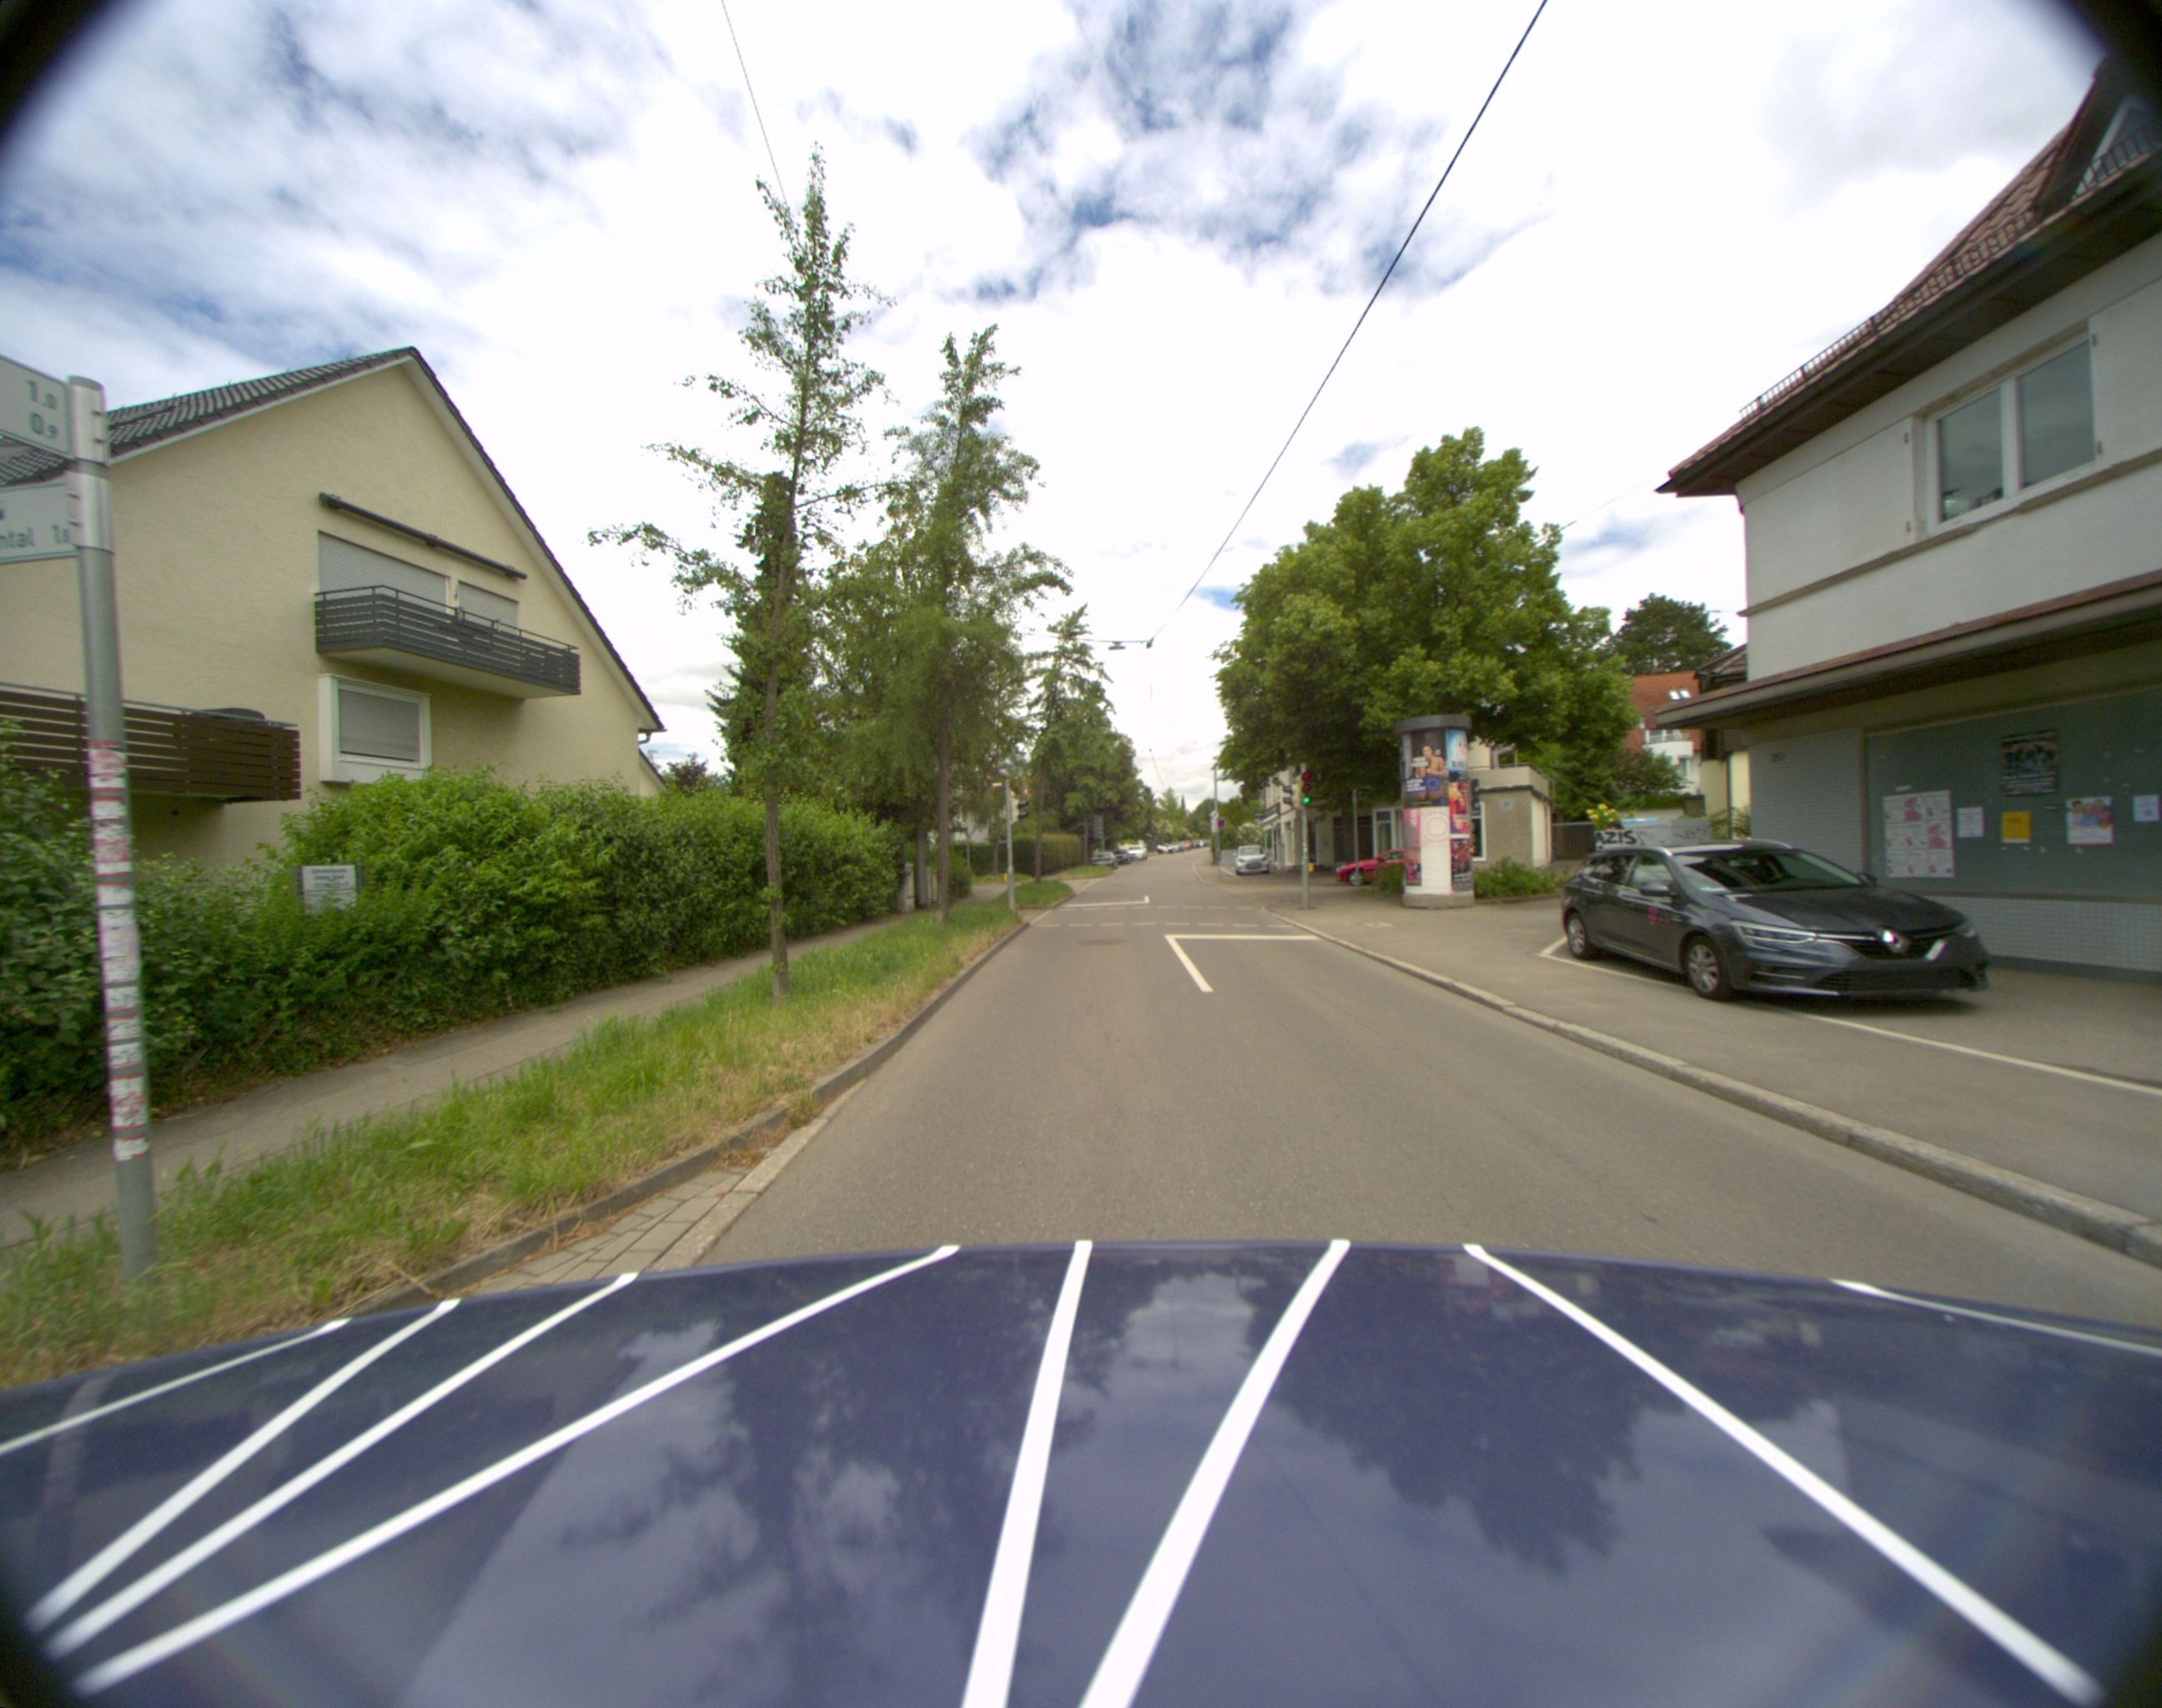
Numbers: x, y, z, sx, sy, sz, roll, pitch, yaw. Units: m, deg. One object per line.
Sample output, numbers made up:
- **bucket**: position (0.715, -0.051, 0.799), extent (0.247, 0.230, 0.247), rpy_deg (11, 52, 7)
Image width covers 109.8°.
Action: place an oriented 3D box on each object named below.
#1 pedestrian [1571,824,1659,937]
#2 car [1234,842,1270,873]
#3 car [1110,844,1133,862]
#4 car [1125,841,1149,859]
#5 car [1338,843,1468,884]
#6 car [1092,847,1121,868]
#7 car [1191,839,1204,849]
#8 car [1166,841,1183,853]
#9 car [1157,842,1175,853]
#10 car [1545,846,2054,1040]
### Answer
- **pedestrian**: position (8.487, 0.410, 12.123), extent (0.888, 1.708, 0.762), rpy_deg (-4, 0, 18)
- **car**: position (9.247, 0.149, 41.195), extent (1.591, 1.529, 2.925), rpy_deg (-4, 0, 9)
- **car**: position (3.807, -0.101, 70.903), extent (1.712, 1.479, 3.792), rpy_deg (-3, 1, 10)
- **car**: position (6.074, -0.470, 81.813), extent (1.868, 1.675, 4.353), rpy_deg (-3, 1, 13)
- **car**: position (12.167, 0.396, 28.809), extent (4.222, 1.423, 1.820), rpy_deg (-2, -2, 34)
- **car**: position (2.006, 0.249, 59.926), extent (1.713, 1.404, 3.792), rpy_deg (-4, 1, 9)
- **car**: position (21.636, -1.871, 140.694), extent (1.953, 1.617, 4.379), rpy_deg (-3, 1, 13)
- **car**: position (14.233, -1.109, 115.309), extent (1.832, 1.614, 4.496), rpy_deg (-2, 1, 15)
- **car**: position (12.083, -0.970, 107.744), extent (2.289, 1.515, 1.319), rpy_deg (-1, 1, 20)
- **car**: position (6.894, 0.693, 8.135), extent (1.782, 1.433, 4.529), rpy_deg (-4, 0, 12)
